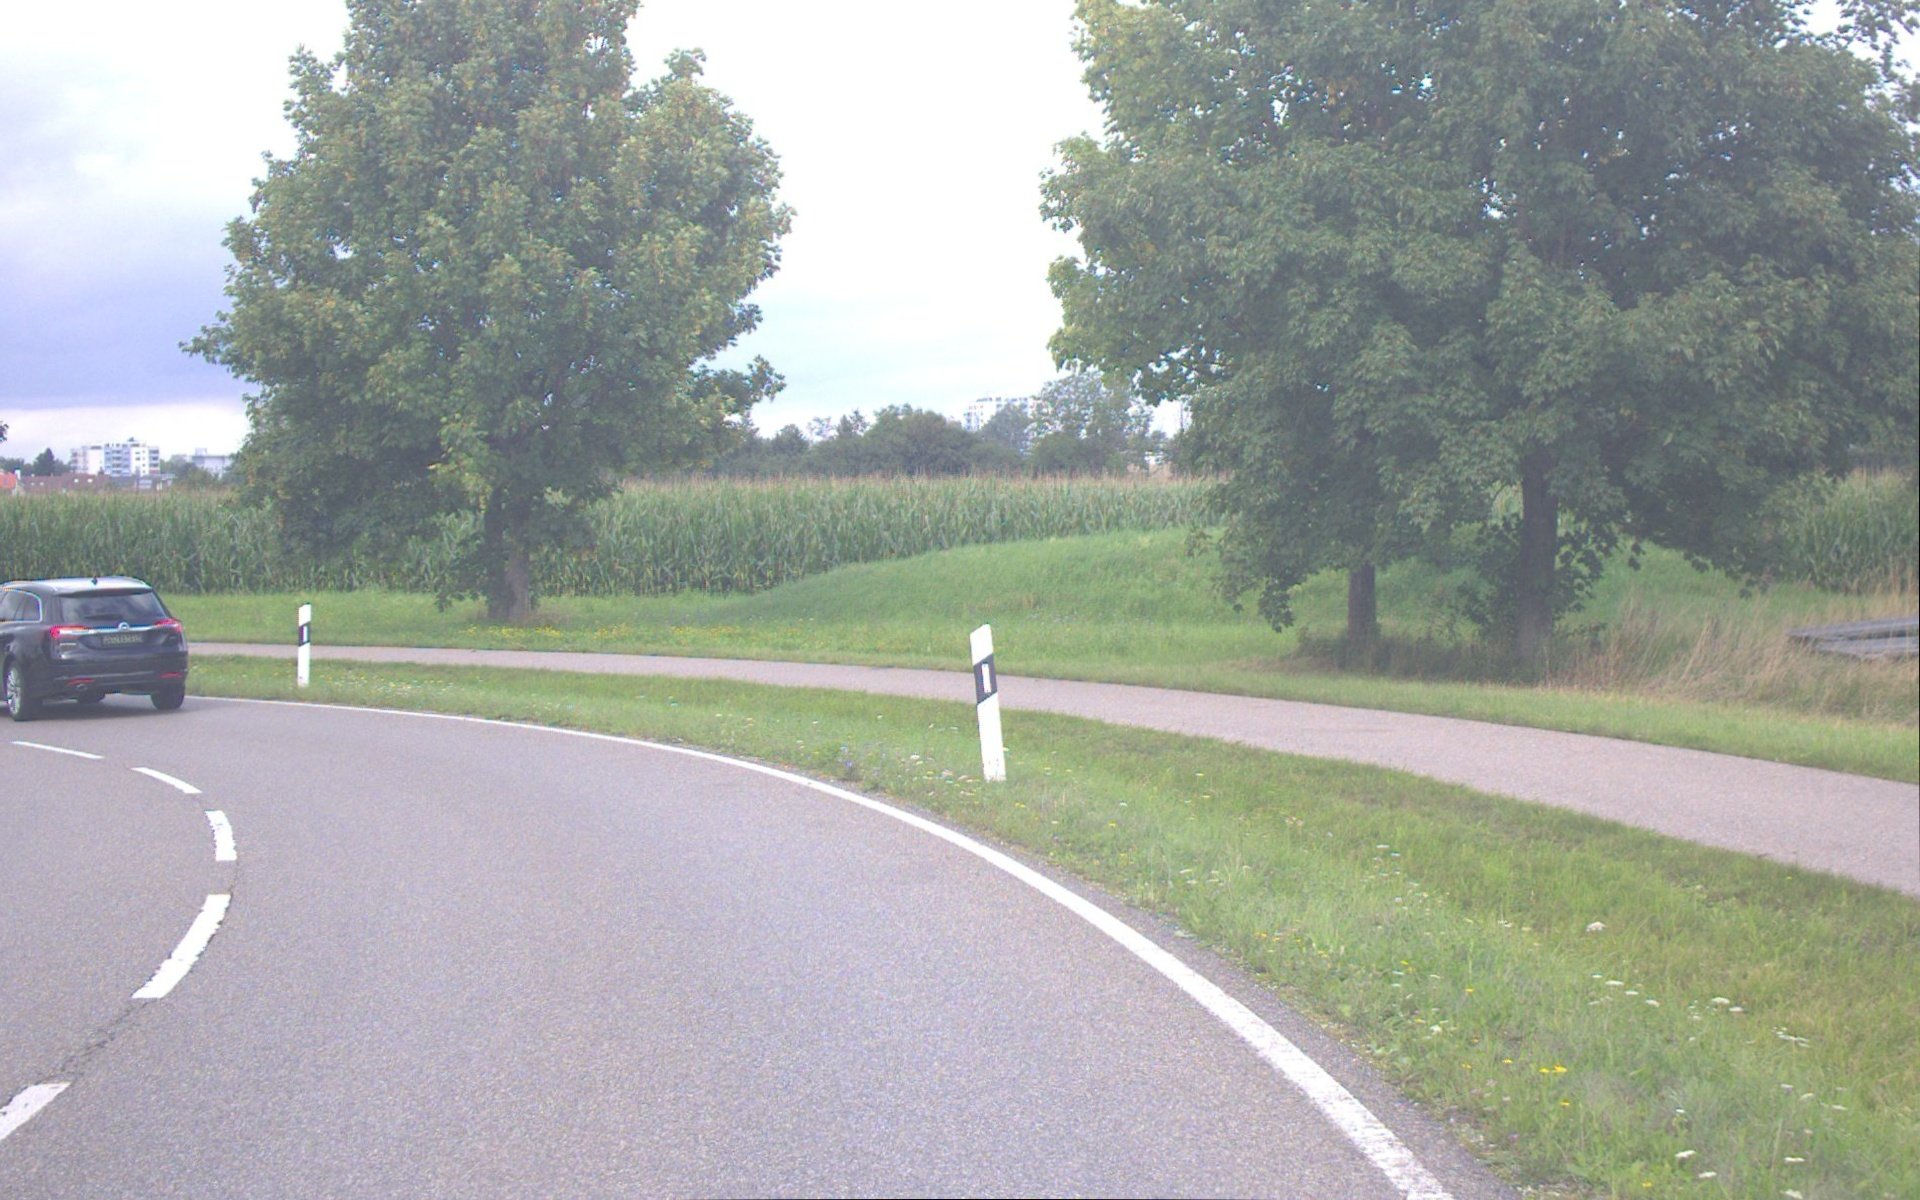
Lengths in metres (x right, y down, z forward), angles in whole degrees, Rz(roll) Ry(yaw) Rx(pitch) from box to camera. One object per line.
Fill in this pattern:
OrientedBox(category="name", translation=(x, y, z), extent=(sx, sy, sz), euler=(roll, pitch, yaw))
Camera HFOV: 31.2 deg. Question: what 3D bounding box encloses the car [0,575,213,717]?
OrientedBox(category="car", translation=(-9.866, 0.458, 37.582), extent=(1.841, 1.412, 3.999), euler=(-1, 1, -36))
